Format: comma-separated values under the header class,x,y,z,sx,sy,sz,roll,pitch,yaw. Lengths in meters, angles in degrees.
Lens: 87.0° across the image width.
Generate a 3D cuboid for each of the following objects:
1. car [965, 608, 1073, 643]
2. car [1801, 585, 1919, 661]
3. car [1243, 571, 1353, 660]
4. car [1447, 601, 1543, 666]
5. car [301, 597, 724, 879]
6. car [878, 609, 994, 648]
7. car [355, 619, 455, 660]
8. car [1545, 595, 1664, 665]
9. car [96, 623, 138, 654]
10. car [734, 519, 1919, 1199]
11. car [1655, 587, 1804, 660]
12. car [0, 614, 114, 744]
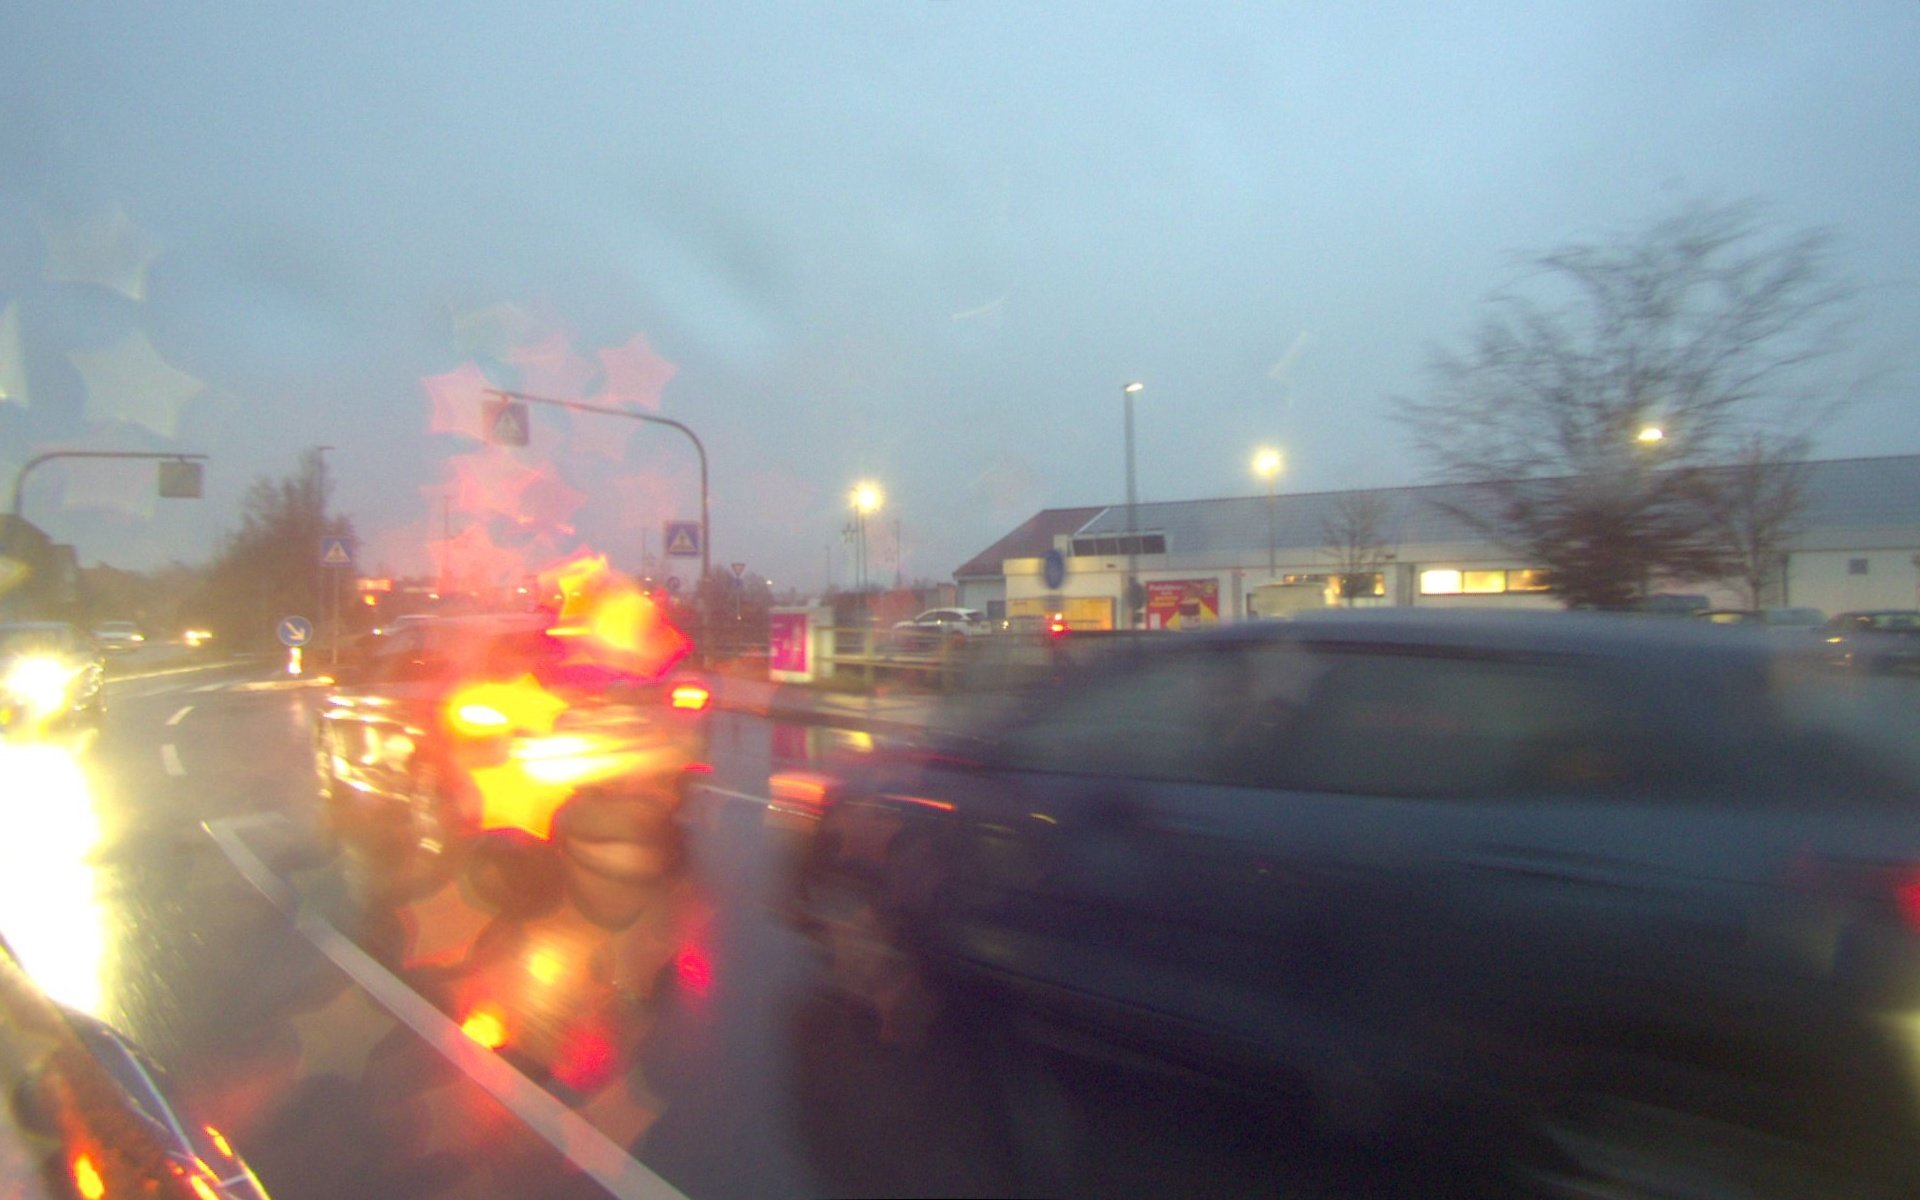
class,x,y,z,sx,sy,sz,roll,pitch,yaw
car,2.692,1.168,46.607,4.637,1.548,1.871,-1,-1,31
car,21.292,0.541,23.234,2.045,1.575,4.403,-2,-3,27
car,9.801,0.514,29.025,2.208,2.300,5.154,-2,-3,27
car,14.247,0.914,27.081,2.045,1.575,4.403,-2,-3,27
car,-3.482,0.760,7.442,1.643,1.497,4.004,0,-1,-43
car,-1.046,1.160,42.570,4.768,1.548,1.671,-1,-1,31
car,-22.317,1.553,40.879,1.971,1.484,4.001,-1,0,-2
car,16.076,0.786,25.475,2.045,1.575,4.403,-2,-3,27
car,-52.859,2.386,63.510,1.918,1.819,4.180,-1,-1,-39
car,1.151,0.676,3.311,4.043,1.506,1.751,-2,-3,44
car,18.541,0.615,24.621,2.045,1.575,4.403,-2,-3,27
car,-13.731,1.057,14.574,1.747,1.654,4.434,-1,-1,-32
